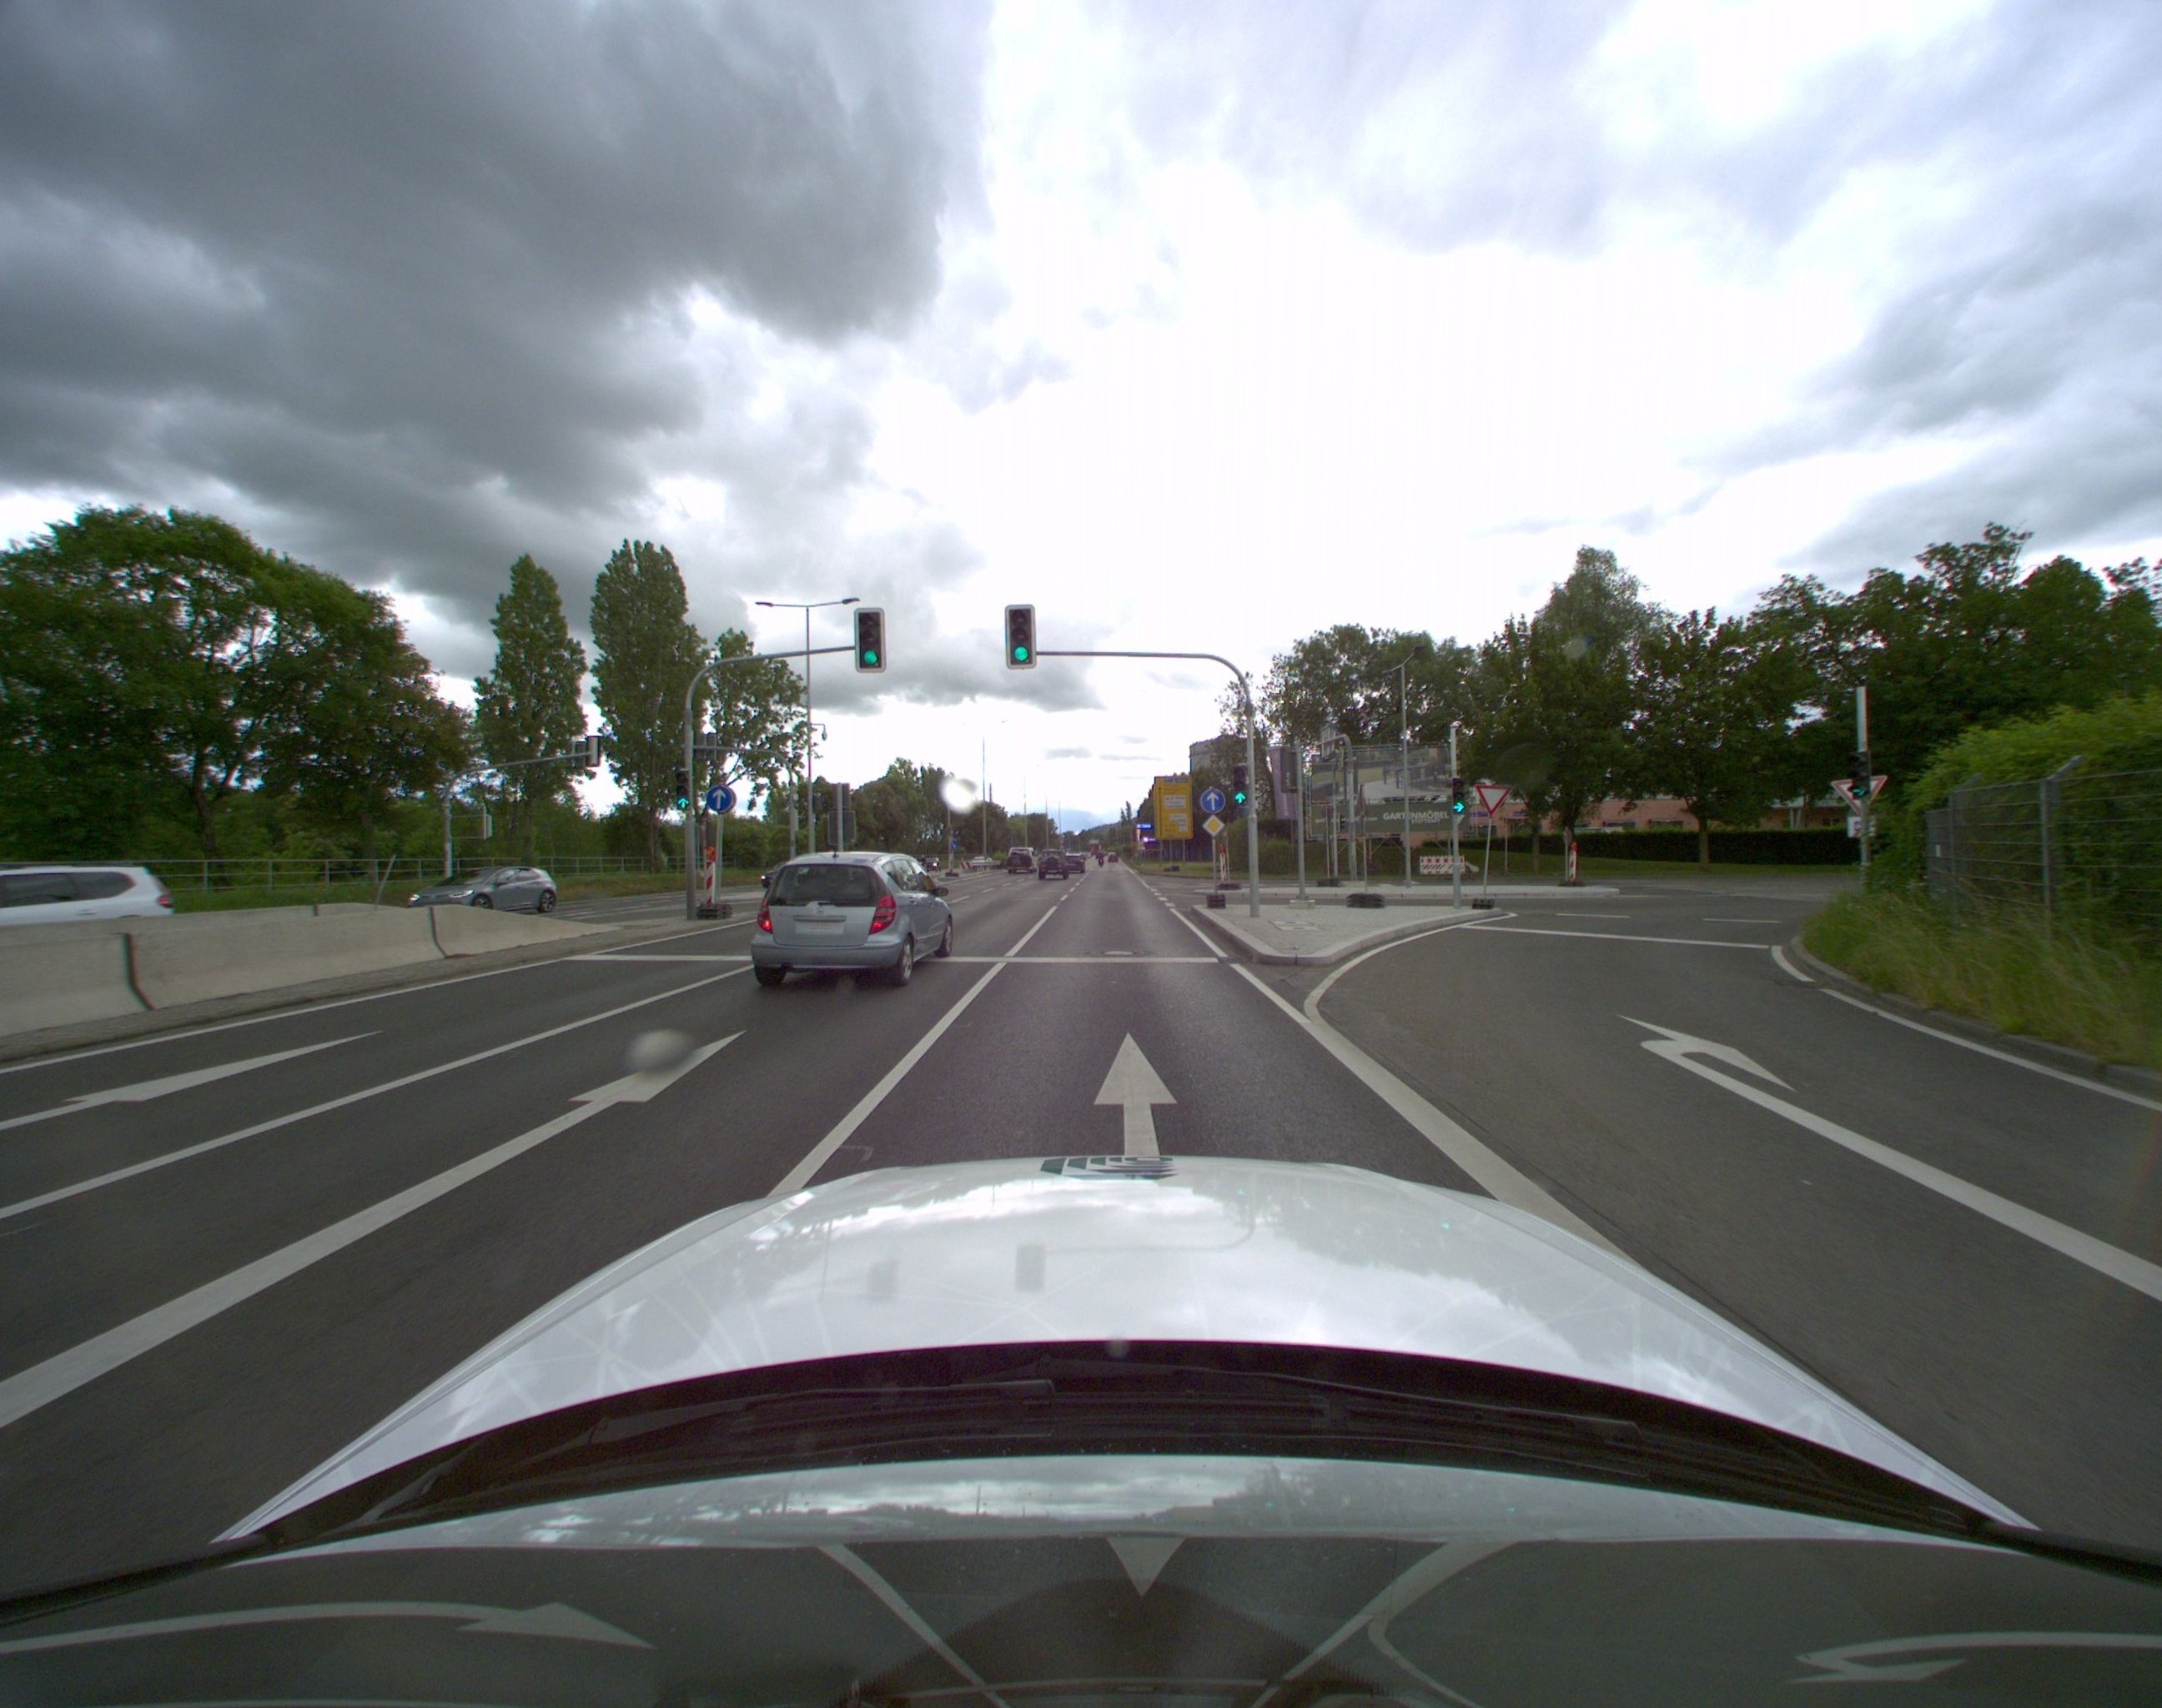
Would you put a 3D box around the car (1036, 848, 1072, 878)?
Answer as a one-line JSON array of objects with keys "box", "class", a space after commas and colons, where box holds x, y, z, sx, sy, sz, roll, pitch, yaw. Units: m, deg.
[{"box": [-1.542, 0.507, 48.003, 1.901, 1.684, 4.001, 1, 1, 1], "class": "car"}]

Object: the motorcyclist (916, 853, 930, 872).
[{"box": [-13.371, 0.732, 69.077, 0.909, 1.522, 0.981, 1, -3, 2], "class": "motorcyclist"}]

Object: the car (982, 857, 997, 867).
[{"box": [-16.235, 1.420, 144.356, 1.986, 1.640, 4.002, 1, 1, 2], "class": "car"}]

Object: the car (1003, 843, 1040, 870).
[{"box": [-4.383, 0.164, 60.697, 2.206, 1.925, 5.004, 1, 1, 1], "class": "car"}]

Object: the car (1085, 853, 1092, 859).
[{"box": [2.481, 0.587, 254.279, 1.986, 2.013, 4.003, 1, 1, 2], "class": "car"}]

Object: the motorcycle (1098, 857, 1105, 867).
[{"box": [2.218, 0.833, 88.275, 0.703, 1.040, 2.029, 1, 1, 3], "class": "motorcycle"}]

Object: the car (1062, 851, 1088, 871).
[{"box": [-0.418, 0.494, 61.682, 1.833, 1.464, 4.002, 1, 1, 2], "class": "car"}]

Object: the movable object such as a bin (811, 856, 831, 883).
[{"box": [-10.307, 0.613, 32.277, 0.538, 1.059, 0.741, 1, 0, 2], "class": "movable object such as a bin"}]

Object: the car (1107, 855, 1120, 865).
[{"box": [5.213, 0.984, 132.269, 1.987, 1.552, 4.000, 1, 1, 1], "class": "car"}]

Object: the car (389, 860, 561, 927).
[{"box": [-18.158, 1.121, 24.723, 1.987, 1.656, 4.288, 1, 2, 0], "class": "car"}]

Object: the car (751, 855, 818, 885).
[{"box": [-17.086, 0.911, 47.227, 1.985, 1.550, 4.571, -1, 1, 3], "class": "car"}]

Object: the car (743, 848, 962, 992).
[{"box": [-2.790, 0.708, 10.902, 1.704, 1.530, 4.001, 1, 1, 1], "class": "car"}]

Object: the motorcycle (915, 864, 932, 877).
[{"box": [-13.377, 1.396, 69.096, 0.909, 0.989, 2.164, 1, -3, 2], "class": "motorcycle"}]

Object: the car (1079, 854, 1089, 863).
[{"box": [0.682, 1.008, 182.465, 1.986, 2.013, 4.002, 1, 1, 2], "class": "car"}]

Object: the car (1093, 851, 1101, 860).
[{"box": [3.934, 0.399, 199.280, 1.986, 2.013, 4.002, 1, 1, 2], "class": "car"}]

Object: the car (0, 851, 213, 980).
[{"box": [-15.428, 0.832, 11.281, 1.986, 1.684, 4.413, 1, 1, 1], "class": "car"}]

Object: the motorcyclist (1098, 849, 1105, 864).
[{"box": [2.221, 0.277, 88.268, 0.682, 1.610, 0.846, 1, 0, 3], "class": "motorcyclist"}]

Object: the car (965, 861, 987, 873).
[{"box": [-13.536, 1.666, 105.285, 1.986, 1.493, 4.807, 1, 1, 2], "class": "car"}]

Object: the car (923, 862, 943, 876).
[{"box": [-15.847, 1.588, 87.174, 1.467, 1.463, 2.738, 1, 0, 2], "class": "car"}]
